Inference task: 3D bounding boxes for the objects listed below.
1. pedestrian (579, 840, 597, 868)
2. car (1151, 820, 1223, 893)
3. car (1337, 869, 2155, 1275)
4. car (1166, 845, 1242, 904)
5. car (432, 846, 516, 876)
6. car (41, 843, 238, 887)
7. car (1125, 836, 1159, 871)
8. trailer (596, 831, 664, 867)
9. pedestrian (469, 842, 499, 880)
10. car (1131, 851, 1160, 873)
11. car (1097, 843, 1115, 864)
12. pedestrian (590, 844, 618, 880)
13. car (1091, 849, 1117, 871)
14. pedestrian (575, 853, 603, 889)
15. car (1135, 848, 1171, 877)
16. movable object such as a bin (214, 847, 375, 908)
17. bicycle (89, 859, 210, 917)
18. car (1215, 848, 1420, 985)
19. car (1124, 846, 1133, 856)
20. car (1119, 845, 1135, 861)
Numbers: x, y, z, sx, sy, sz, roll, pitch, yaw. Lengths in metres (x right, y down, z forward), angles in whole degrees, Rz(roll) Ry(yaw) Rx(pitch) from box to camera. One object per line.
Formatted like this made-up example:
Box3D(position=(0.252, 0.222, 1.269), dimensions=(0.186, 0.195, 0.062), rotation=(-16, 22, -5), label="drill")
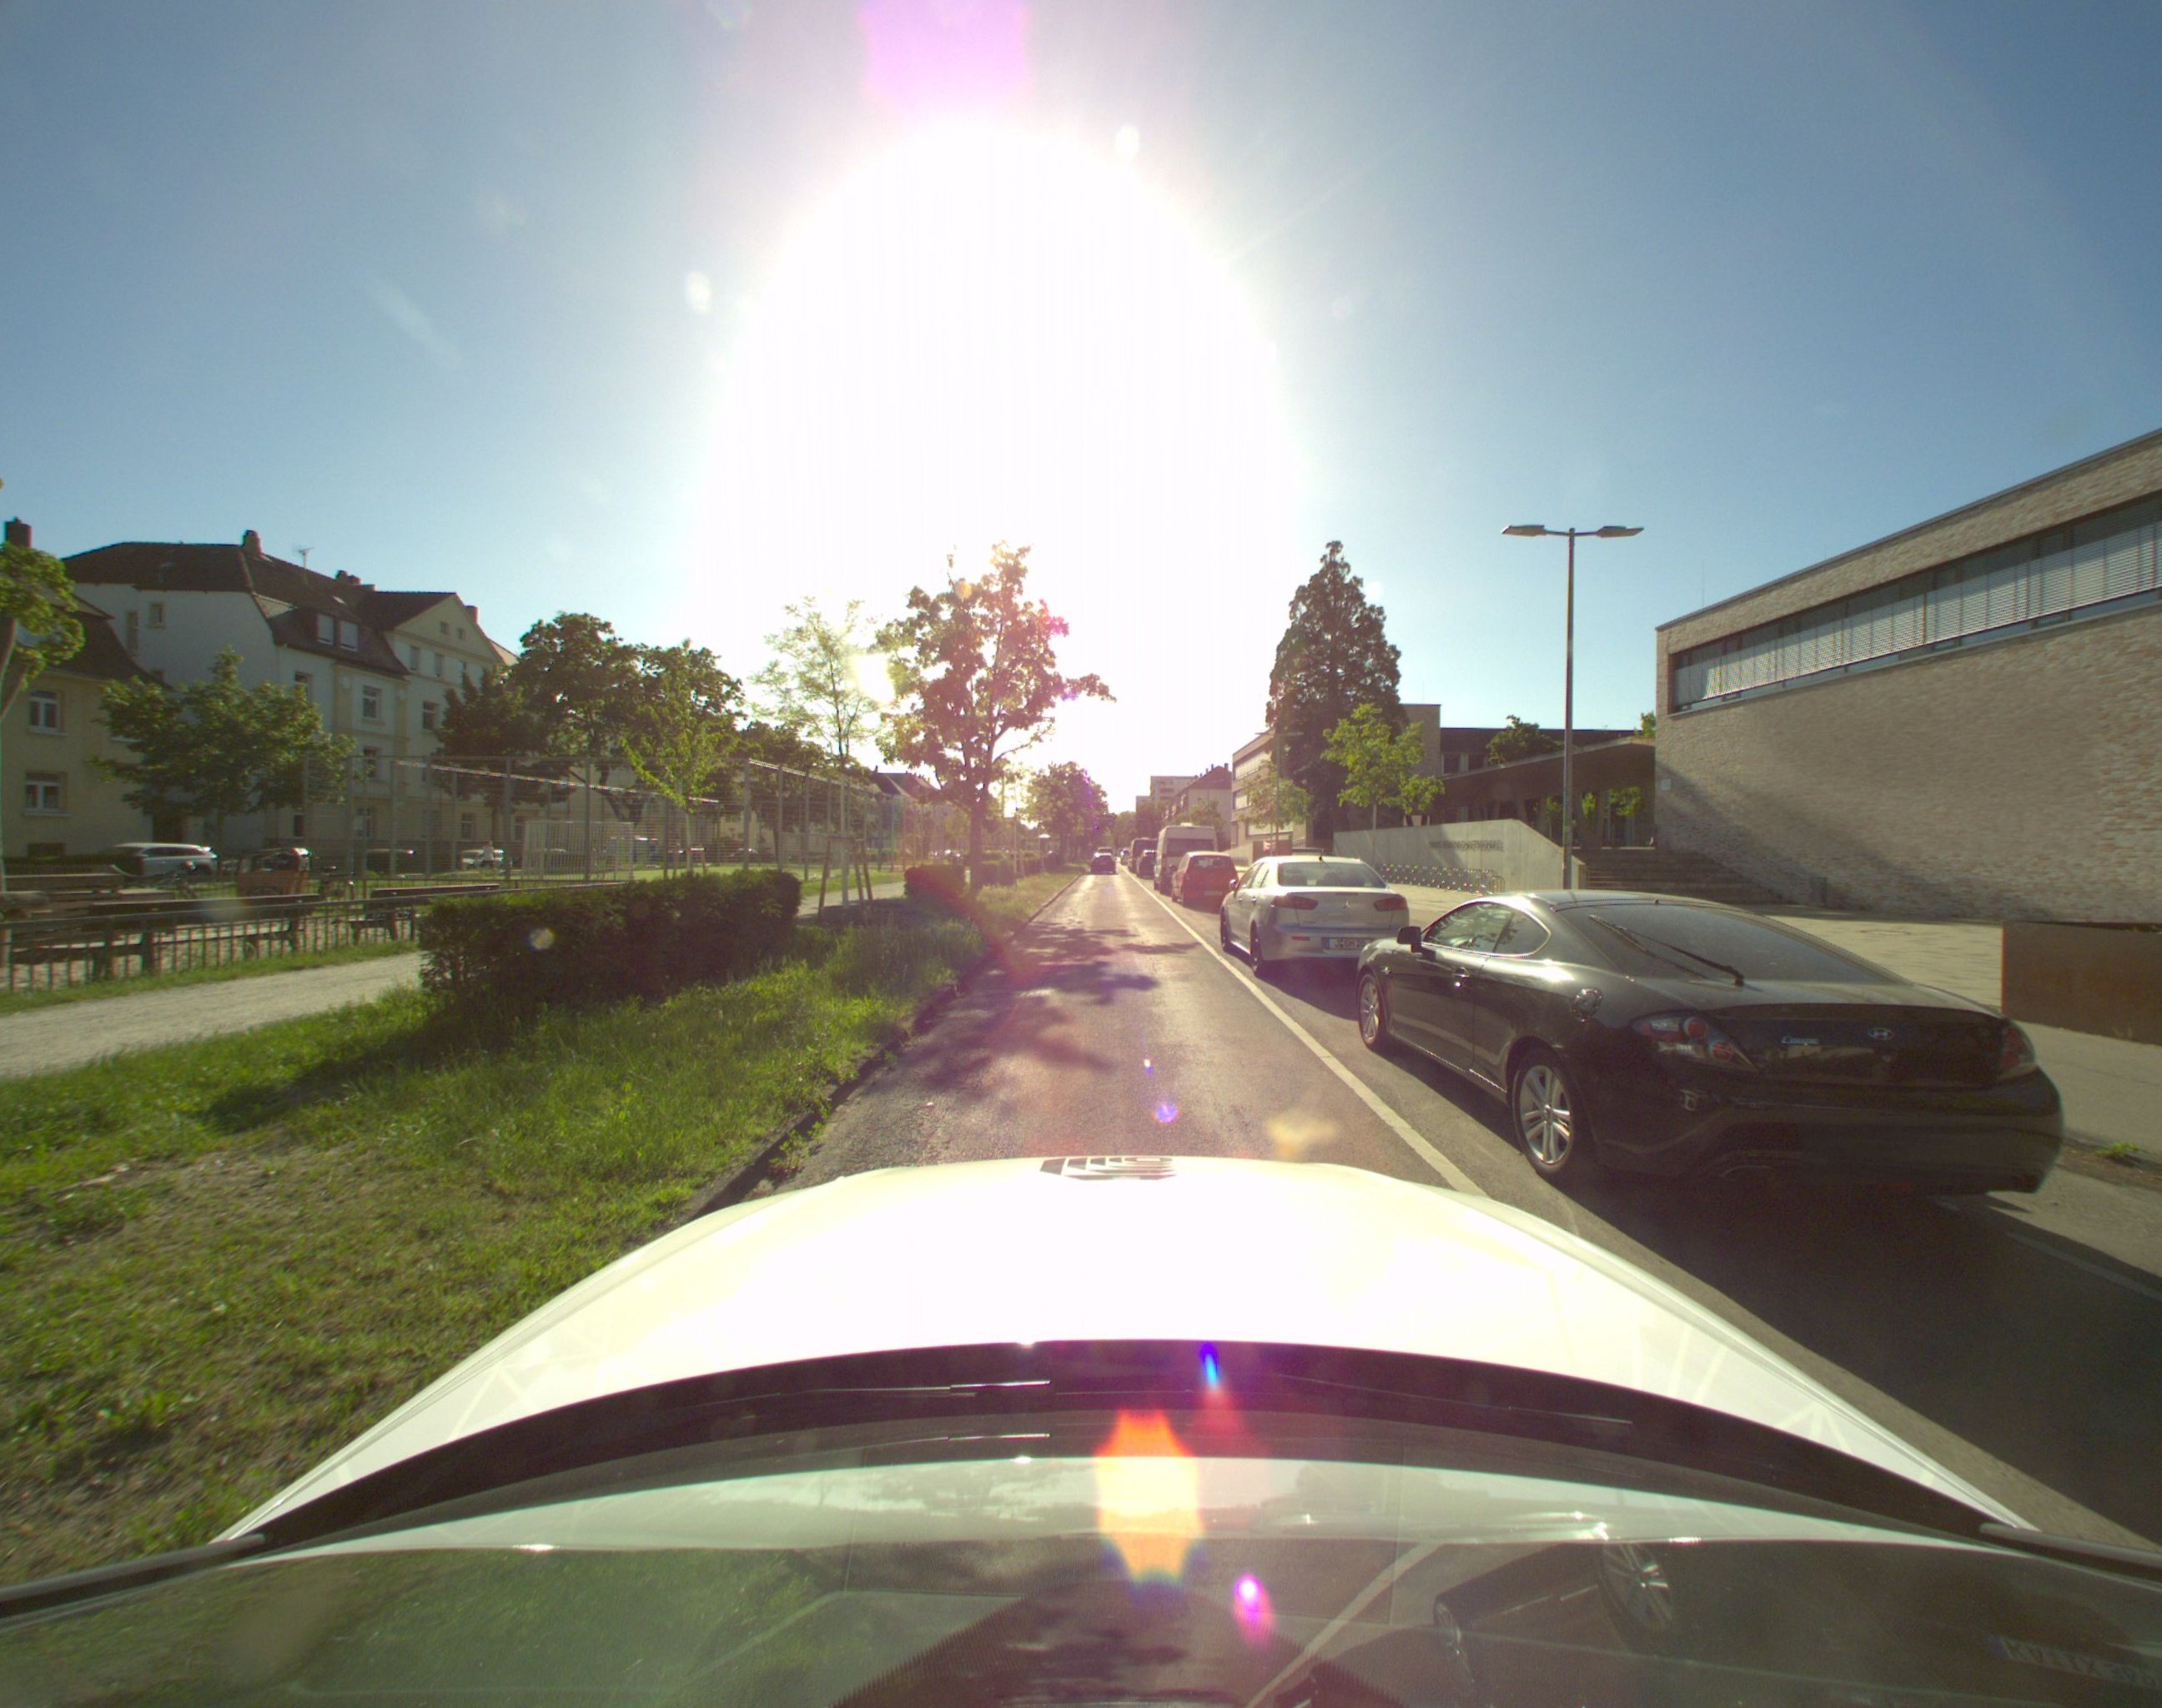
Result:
Box3D(position=(-29.249, 0.011, 48.329), dimensions=(0.645, 1.661, 0.650), rotation=(0, 0, 1), label="pedestrian")
Box3D(position=(3.999, 0.081, 31.542), dimensions=(2.232, 2.574, 5.435), rotation=(1, 0, 2), label="car")
Box3D(position=(3.026, 0.816, 4.974), dimensions=(1.695, 1.325, 4.130), rotation=(1, 0, 1), label="car")
Box3D(position=(3.497, 0.534, 23.683), dimensions=(1.615, 1.588, 3.591), rotation=(1, 0, -1), label="car")
Box3D(position=(-37.941, 0.396, 51.048), dimensions=(1.787, 1.777, 4.491), rotation=(1, 0, 2), label="car")
Box3D(position=(-38.129, 0.393, 33.241), dimensions=(1.874, 1.651, 5.185), rotation=(1, 0, 2), label="car")
Box3D(position=(4.499, -0.031, 61.317), dimensions=(2.108, 2.515, 6.532), rotation=(0, 0, 0), label="car")
Box3D(position=(-37.585, -0.426, 68.065), dimensions=(2.335, 2.870, 5.804), rotation=(1, 0, 1), label="trailer")
Box3D(position=(-21.103, 0.234, 28.793), dimensions=(0.642, 1.318, 0.654), rotation=(1, 0, 31), label="pedestrian")
Box3D(position=(4.354, 0.502, 55.350), dimensions=(1.788, 1.455, 3.950), rotation=(0, 0, 1), label="car")
Box3D(position=(2.565, -0.028, 83.869), dimensions=(1.787, 2.122, 4.002), rotation=(0, 0, 2), label="car")
Box3D(position=(-17.764, 0.301, 30.361), dimensions=(0.642, 1.318, 0.654), rotation=(1, 0, 31), label="pedestrian")
Box3D(position=(1.661, 0.424, 58.172), dimensions=(1.787, 1.510, 4.002), rotation=(0, 0, 2), label="car")
Box3D(position=(-18.620, 0.641, 30.826), dimensions=(0.642, 1.318, 0.654), rotation=(1, 0, 31), label="pedestrian")
Box3D(position=(4.269, 0.470, 48.904), dimensions=(1.839, 1.640, 4.504), rotation=(0, 0, 1), label="car")
Box3D(position=(-16.754, 0.480, 17.410), dimensions=(2.325, 1.242, 1.055), rotation=(0, 0, -3), label="movable object such as a bin")
Box3D(position=(-18.380, 0.657, 16.089), dimensions=(1.788, 1.107, 0.500), rotation=(1, 0, -1), label="bicycle")
Box3D(position=(2.968, 0.685, 11.119), dimensions=(1.695, 1.478, 4.175), rotation=(1, 0, 2), label="car")
Box3D(position=(11.161, -0.738, 193.266), dimensions=(1.986, 2.430, 4.502), rotation=(2, 0, 2), label="car")
Box3D(position=(5.371, -0.116, 94.790), dimensions=(1.786, 1.855, 4.418), rotation=(1, 0, 4), label="car")
